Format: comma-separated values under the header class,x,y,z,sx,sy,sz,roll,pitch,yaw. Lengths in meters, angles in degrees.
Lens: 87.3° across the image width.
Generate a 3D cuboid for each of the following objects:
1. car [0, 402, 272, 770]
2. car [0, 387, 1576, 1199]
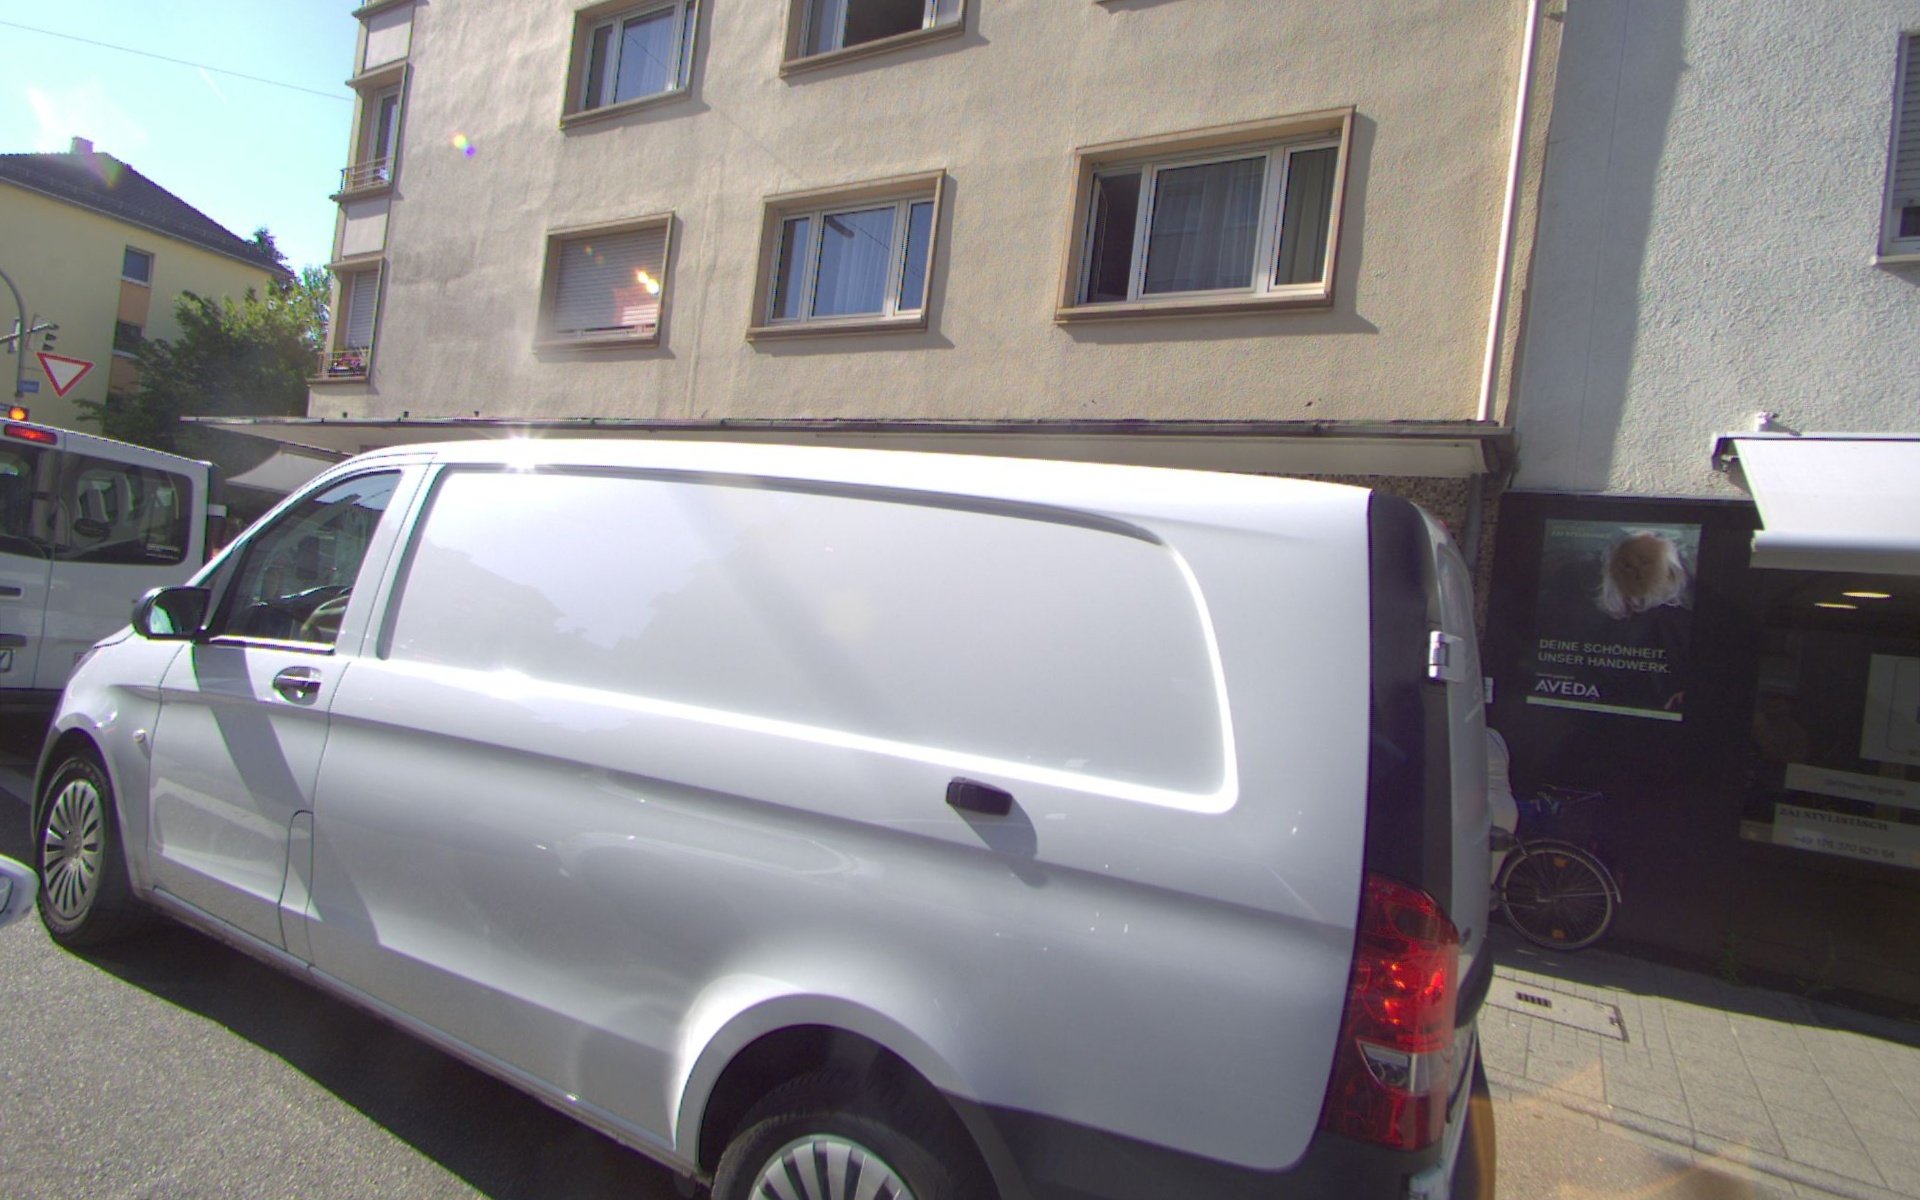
class,x,y,z,sx,sy,sz,roll,pitch,yaw
car,-7.174,-0.273,6.957,4.814,2.000,1.999,7,-3,32
car,-0.999,0.500,3.307,4.912,1.891,1.840,7,-1,30
